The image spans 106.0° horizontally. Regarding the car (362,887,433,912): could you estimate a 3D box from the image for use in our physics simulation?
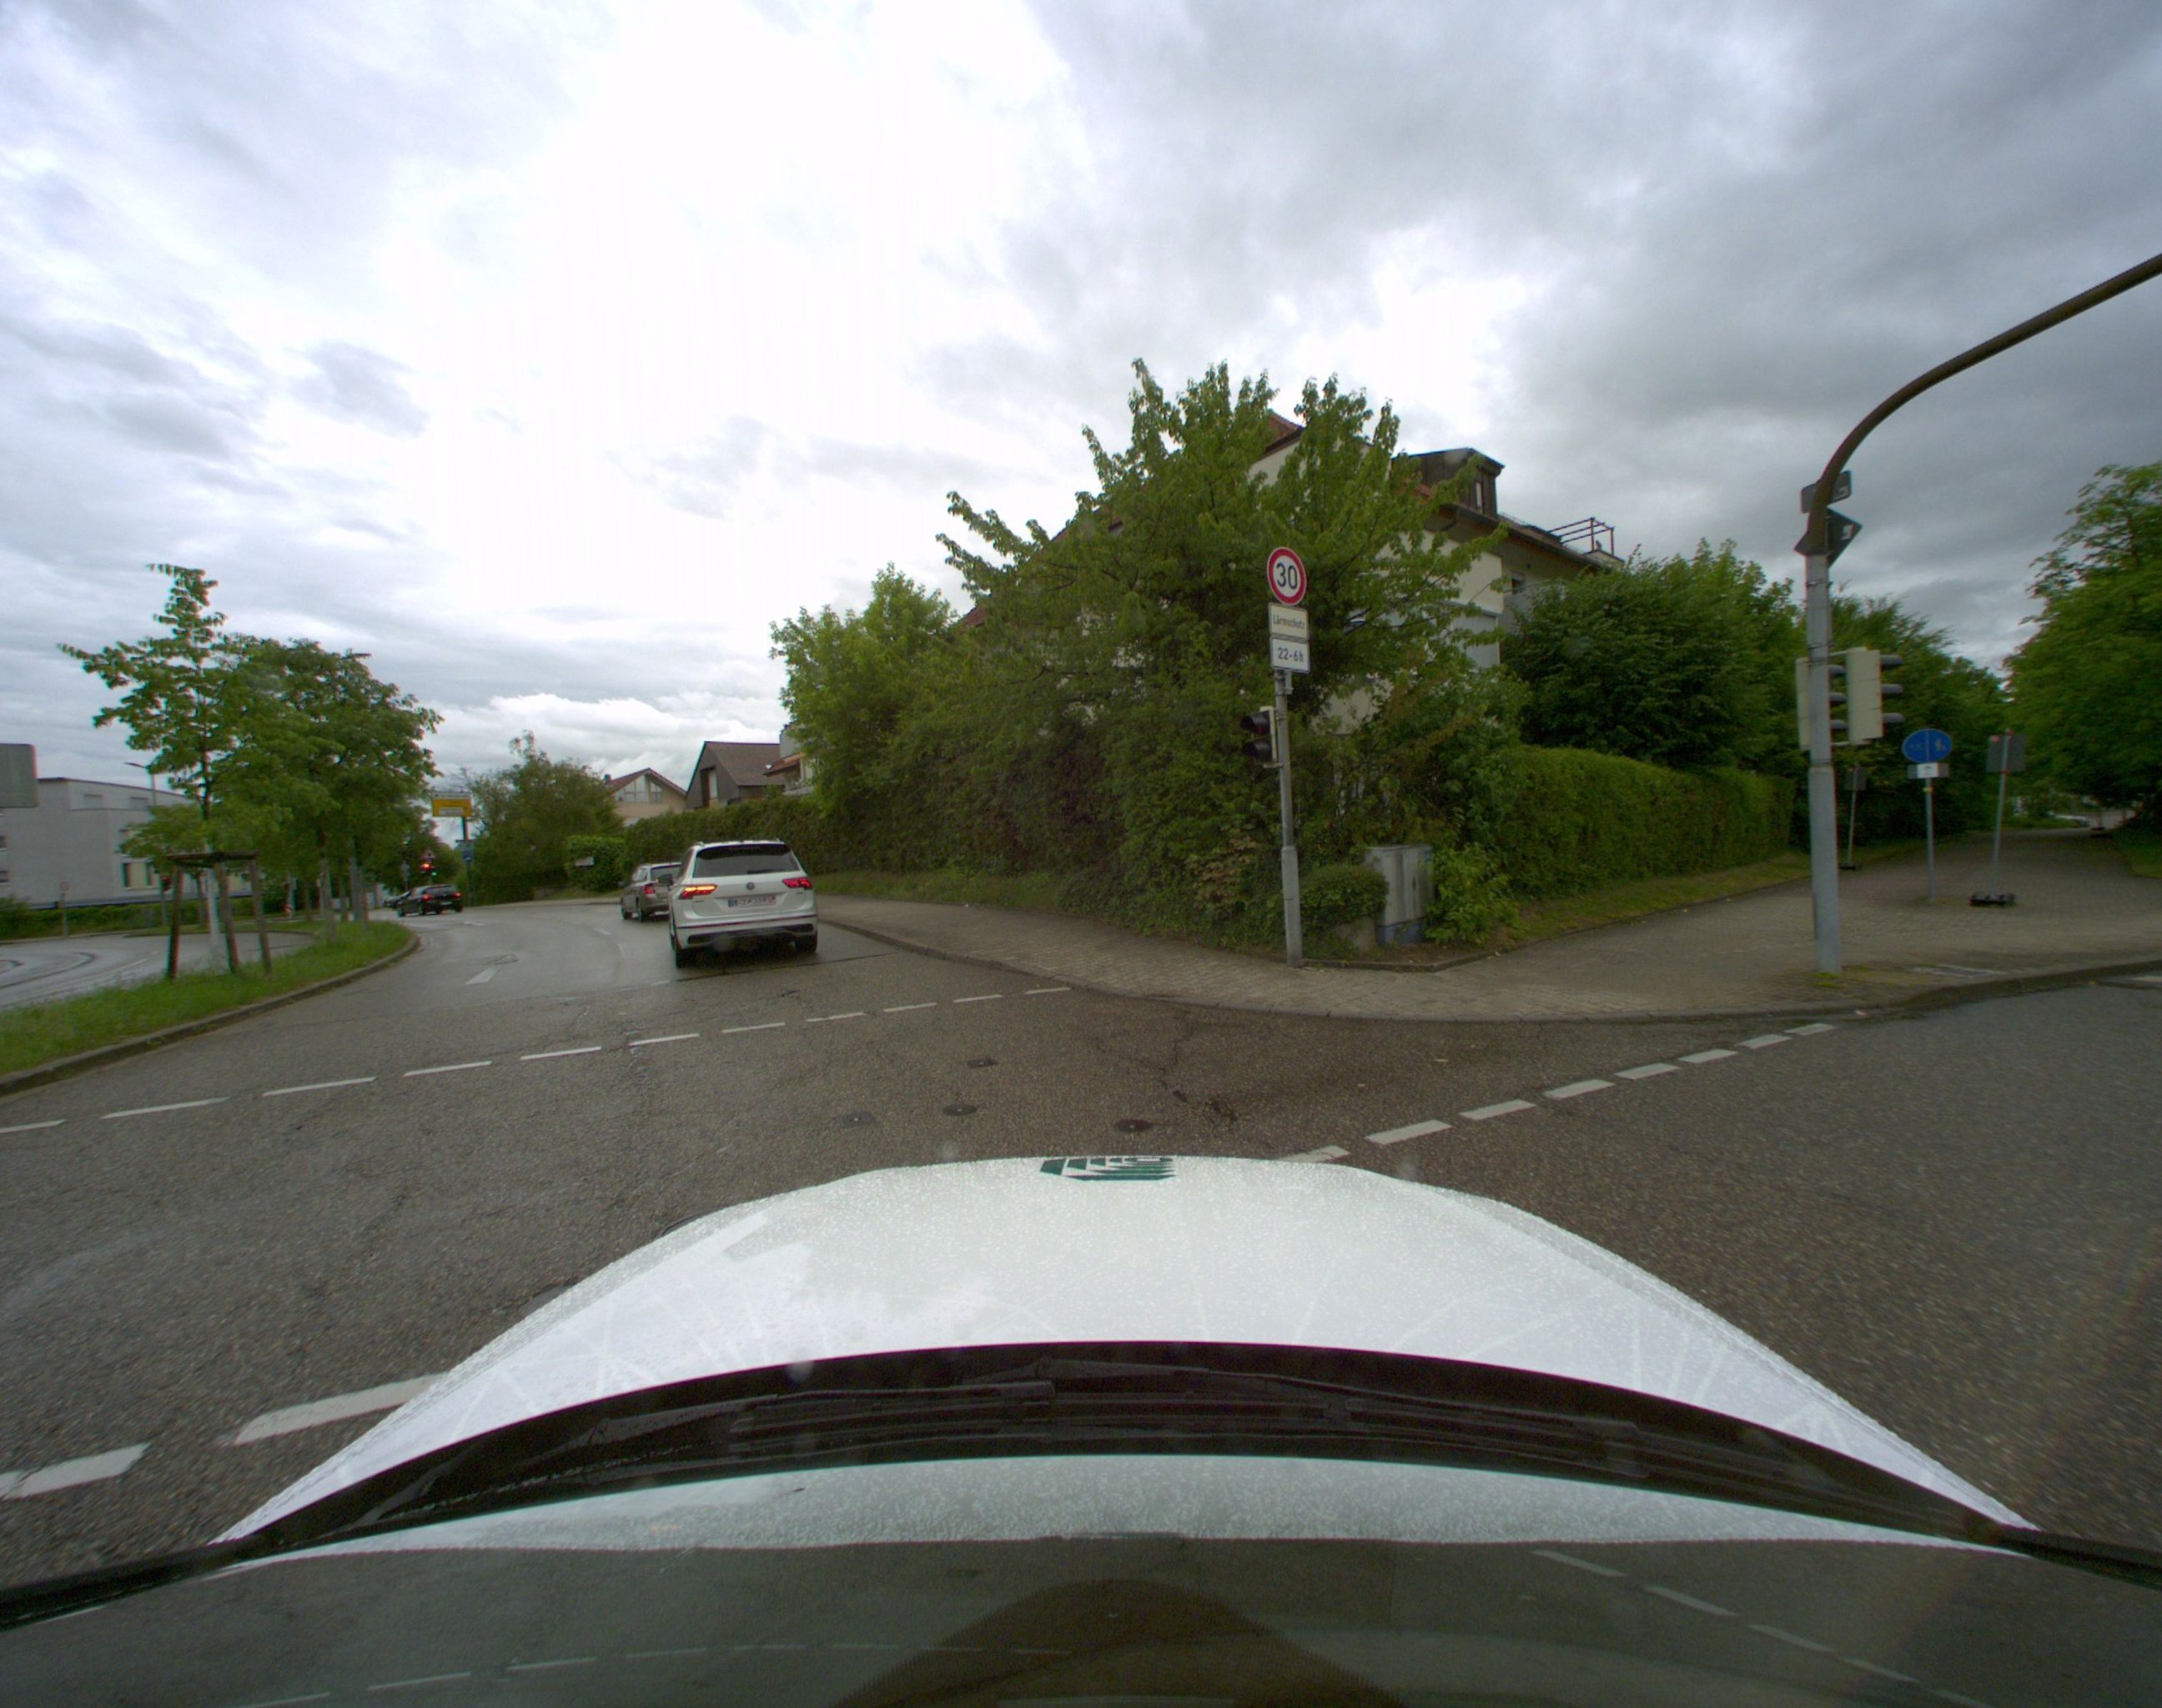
[{"bbox_3d":[-56.403,3.712,67.281,1.707,1.526,4.107,-1,5,38],"label":"car"}]

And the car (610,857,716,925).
[{"bbox_3d":[-11.247,0.894,21.804,1.813,1.589,3.881,-2,1,-38],"label":"car"}]

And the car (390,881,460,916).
[{"bbox_3d":[-33.629,2.270,41.732,3.948,1.479,1.778,-5,-1,37],"label":"car"}]

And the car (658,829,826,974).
[{"bbox_3d":[-5.248,0.612,12.251,1.774,1.695,4.232,-4,1,-29],"label":"car"}]
